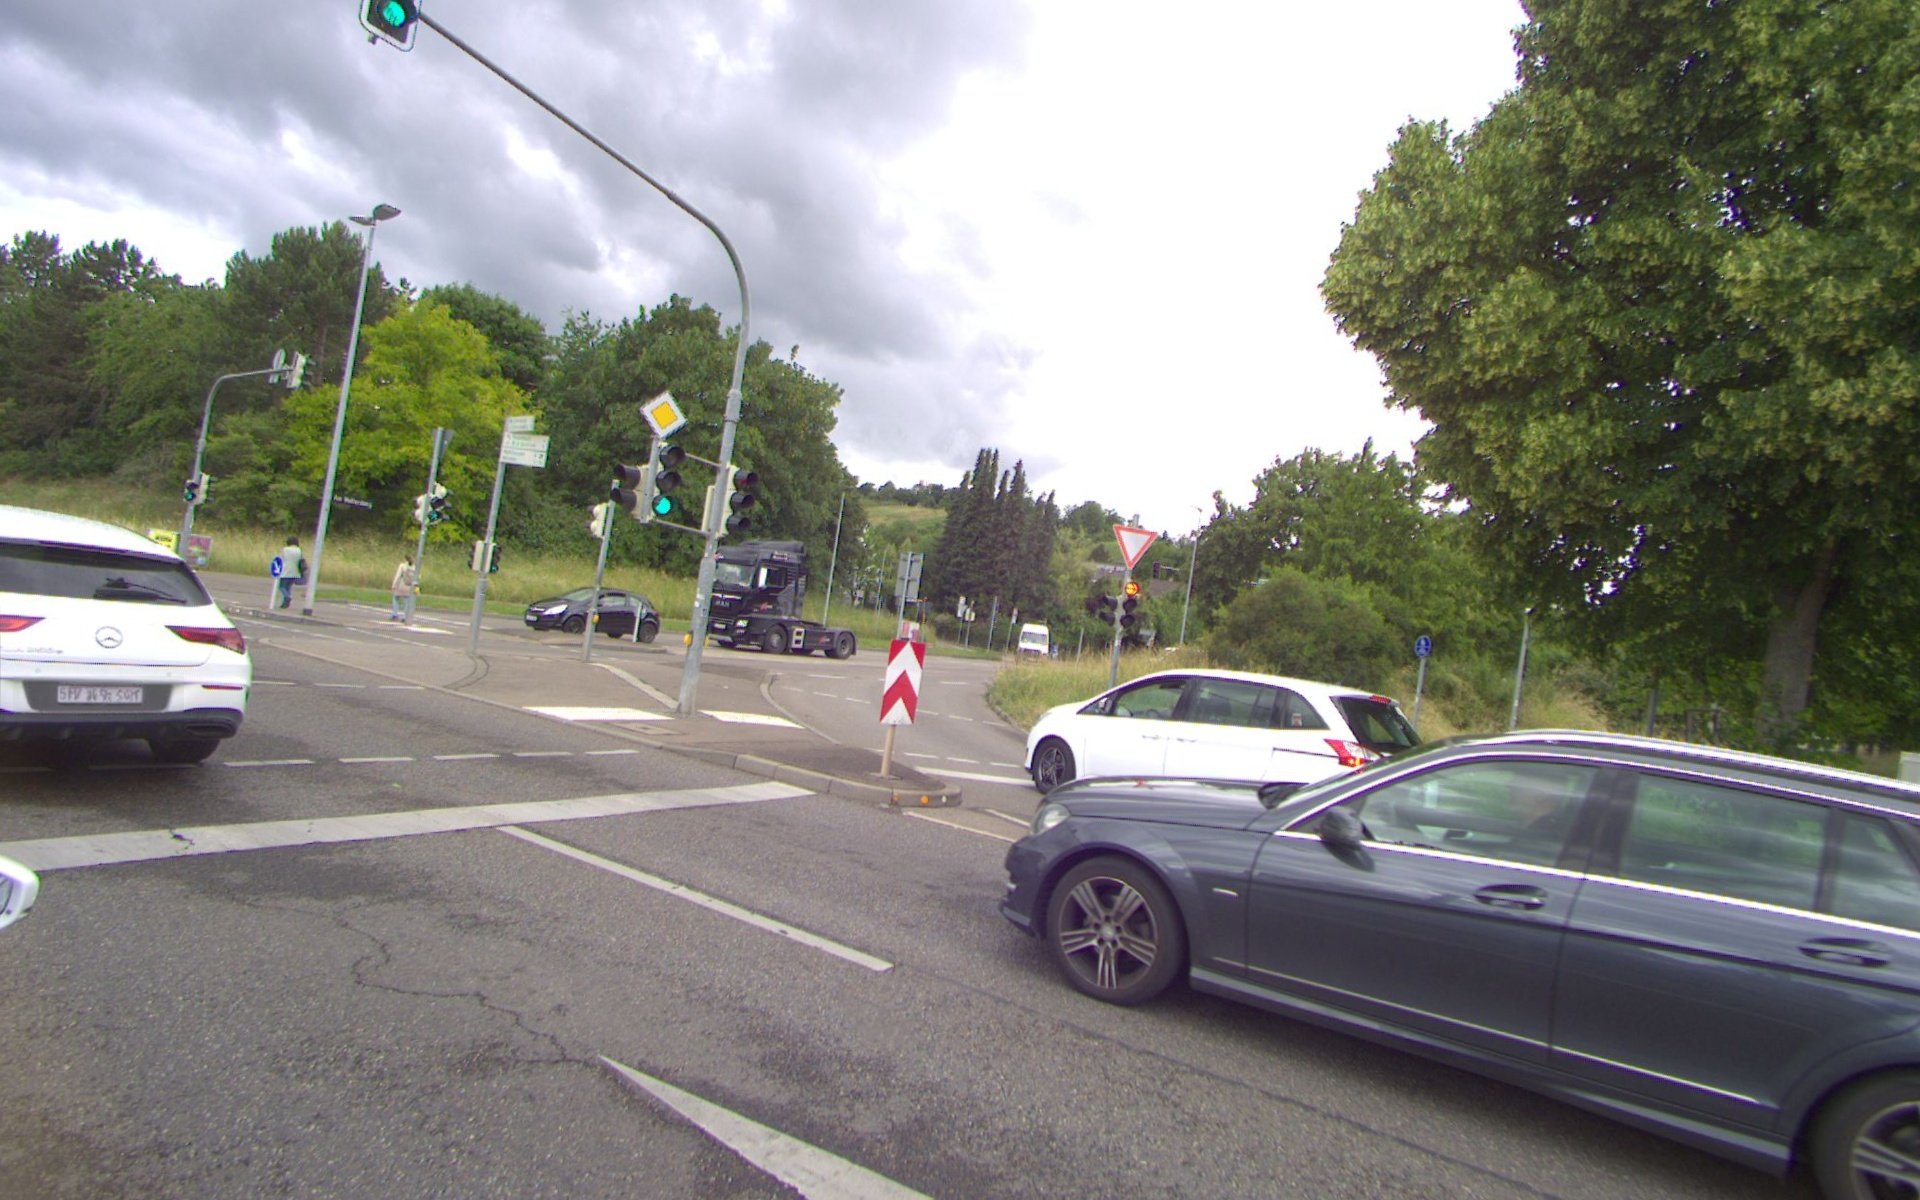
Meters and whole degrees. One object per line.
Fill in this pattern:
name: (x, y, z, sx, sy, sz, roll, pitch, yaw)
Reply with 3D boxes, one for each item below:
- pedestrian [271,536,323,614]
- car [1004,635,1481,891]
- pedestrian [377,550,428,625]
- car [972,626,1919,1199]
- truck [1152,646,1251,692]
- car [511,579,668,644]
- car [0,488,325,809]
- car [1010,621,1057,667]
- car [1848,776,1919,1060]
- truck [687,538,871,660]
pedestrian: (-15.340, -0.584, 23.269, 0.703, 1.681, 0.644, 6, -1, 39)
car: (2.599, 1.481, 10.234, 1.752, 1.673, 4.325, 10, -3, -37)
pedestrian: (-13.087, -0.288, 23.605, 0.703, 1.630, 0.644, 6, -1, 37)
car: (2.407, 1.193, 4.280, 4.283, 1.502, 1.750, 8, -1, 32)
truck: (16.172, 4.637, 67.588, 5.933, 2.256, 2.162, 8, -2, -3)
car: (-10.566, 0.354, 28.926, 1.669, 1.353, 3.882, 6, -3, 34)
car: (-6.209, 0.084, 6.331, 4.456, 1.524, 1.848, 6, -2, 32)
car: (4.881, 2.923, 65.580, 1.962, 2.660, 5.832, 7, -2, 13)
car: (7.173, 2.030, 5.294, 3.511, 1.524, 1.603, 6, -2, 38)
truck: (-6.195, 0.066, 35.394, 2.648, 3.527, 6.004, 6, -1, 34)
